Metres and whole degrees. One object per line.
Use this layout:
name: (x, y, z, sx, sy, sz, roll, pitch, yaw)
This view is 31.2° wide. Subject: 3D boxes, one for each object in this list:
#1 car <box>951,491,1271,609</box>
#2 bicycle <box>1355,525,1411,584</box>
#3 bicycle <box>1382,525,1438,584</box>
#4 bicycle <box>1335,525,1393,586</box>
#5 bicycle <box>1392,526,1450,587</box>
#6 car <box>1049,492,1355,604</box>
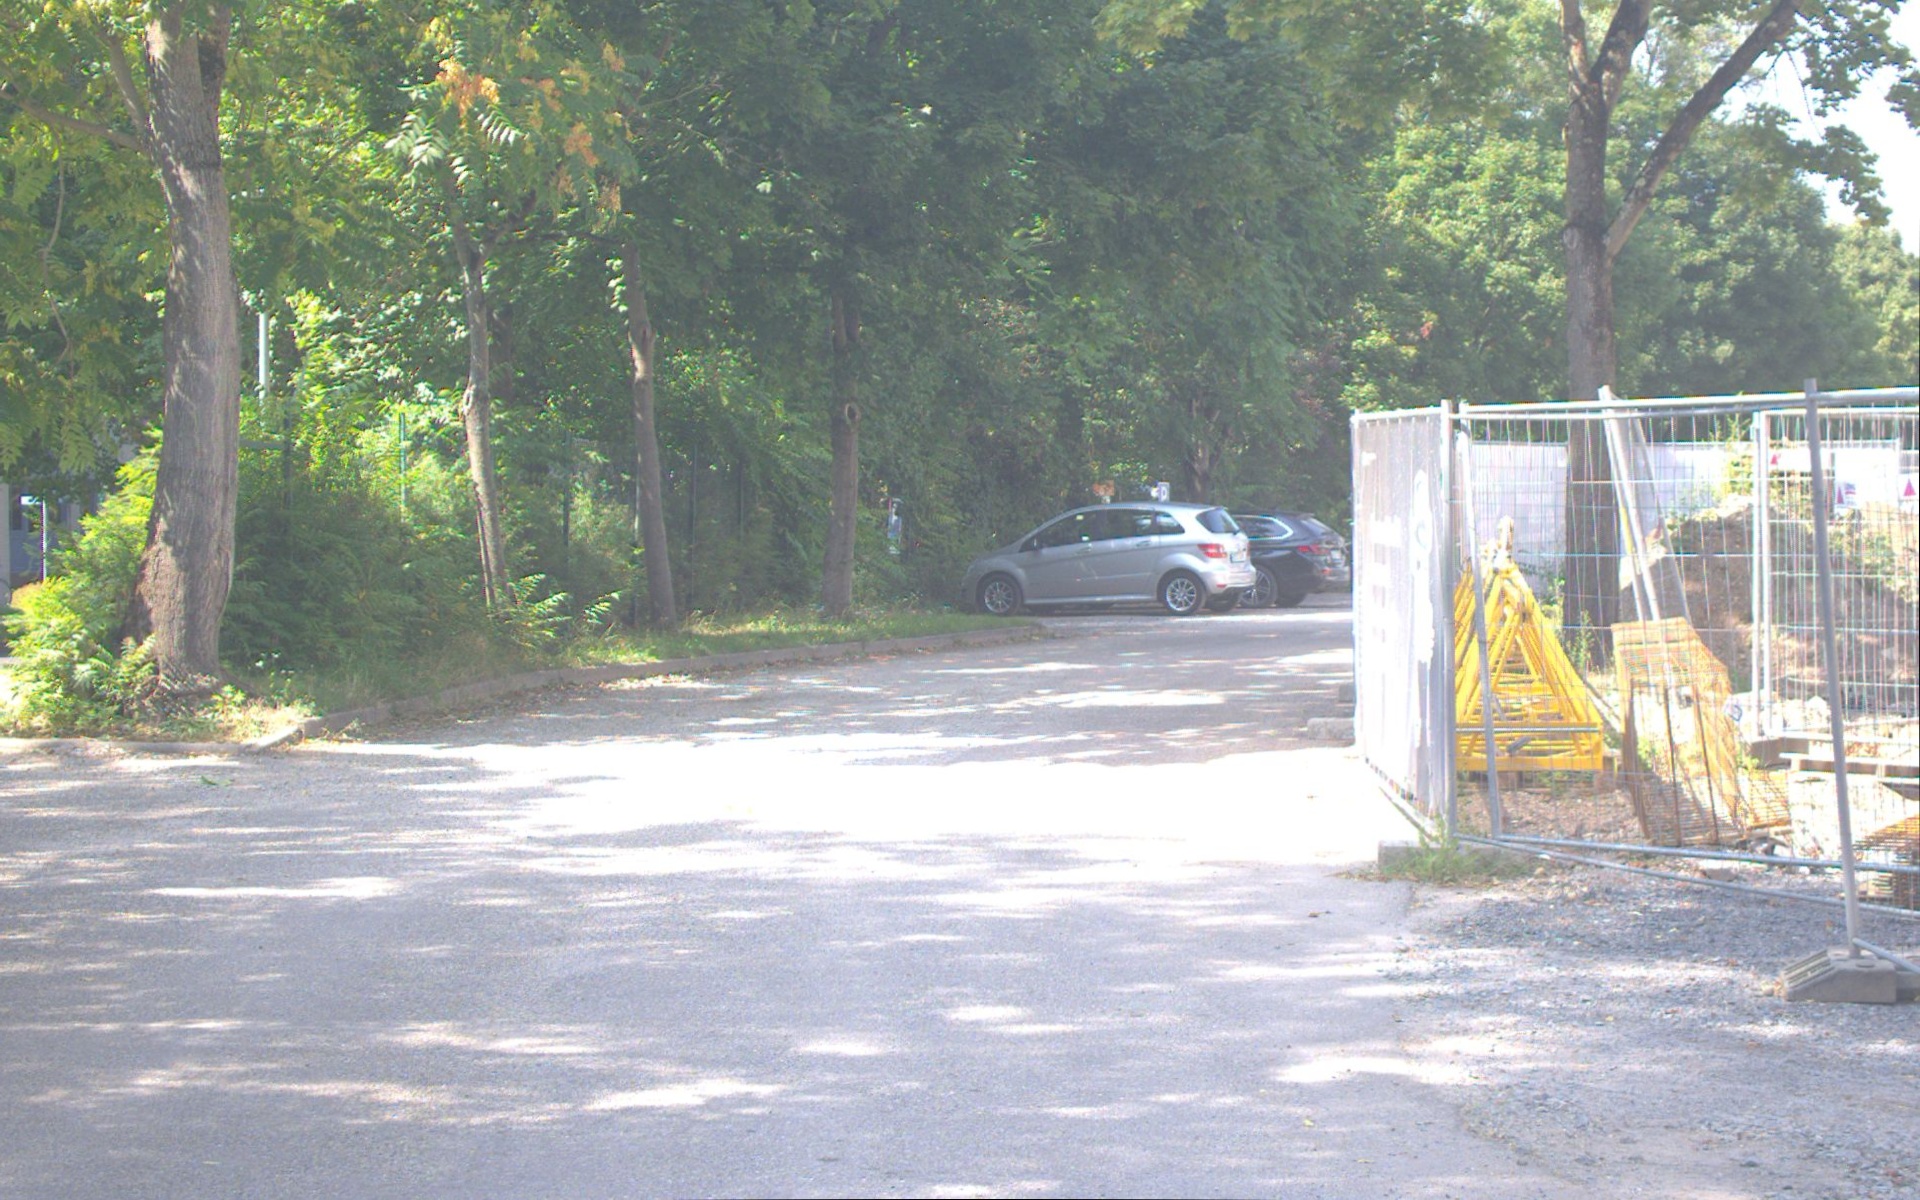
car: (2.167, -0.741, 49.278, 4.152, 1.607, 1.998, 1, 2, 23)
bicycle: (8.193, -0.887, 66.586, 0.499, 1.104, 1.797, 1, 2, 27)
bicycle: (8.700, -0.891, 66.393, 0.499, 1.104, 1.797, 1, 2, 27)
bicycle: (7.588, -0.841, 64.550, 0.499, 1.104, 1.797, 1, 2, 27)
bicycle: (8.633, -0.821, 64.357, 0.499, 1.104, 1.797, 1, 2, 27)
car: (3.632, -0.805, 51.506, 4.152, 1.607, 1.998, 1, 2, 23)
